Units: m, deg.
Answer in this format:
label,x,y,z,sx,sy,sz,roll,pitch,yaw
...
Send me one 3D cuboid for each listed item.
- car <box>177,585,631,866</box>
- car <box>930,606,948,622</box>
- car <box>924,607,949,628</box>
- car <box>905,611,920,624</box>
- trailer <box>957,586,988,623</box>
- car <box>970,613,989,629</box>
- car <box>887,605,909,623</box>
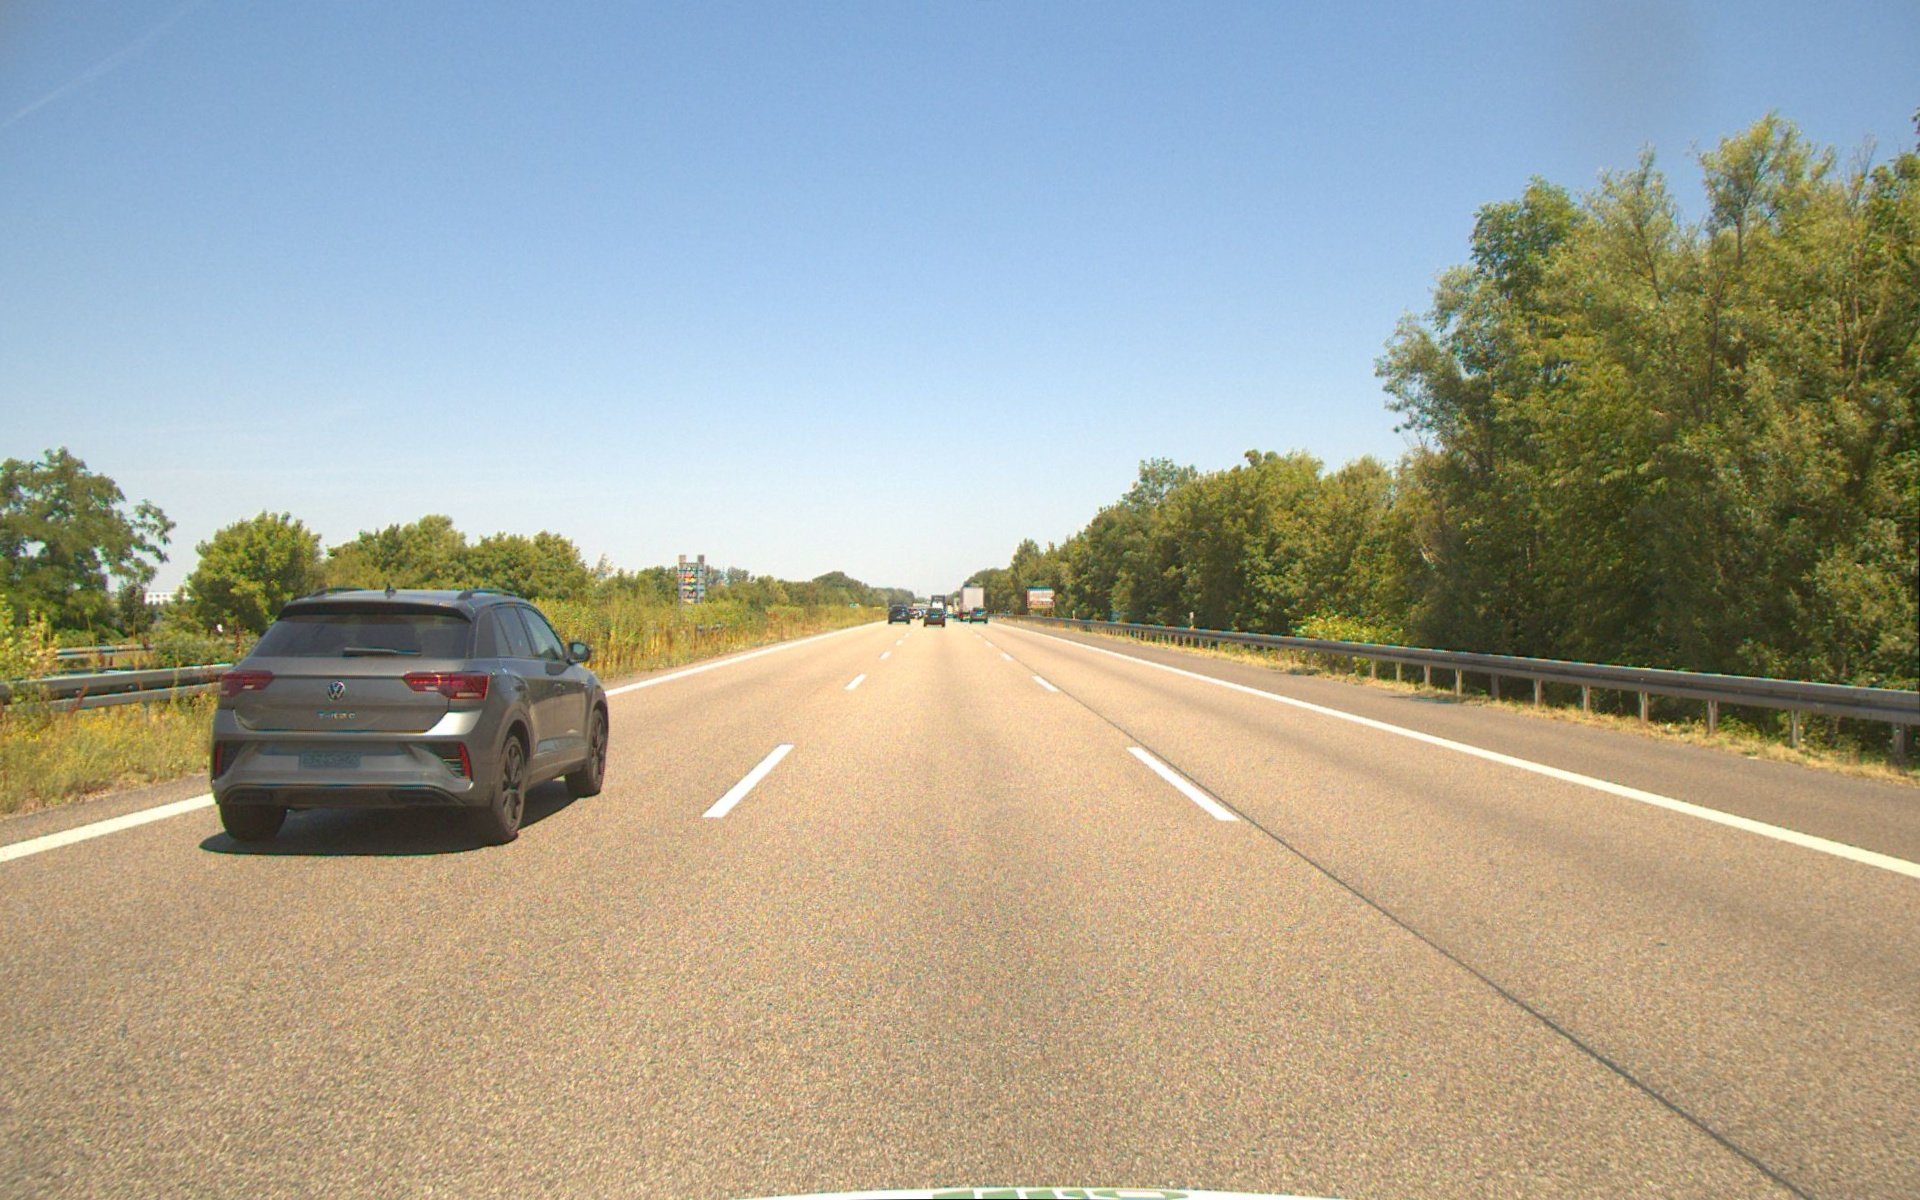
label,x,y,z,sx,sy,sz,roll,pitch,yaw
car,-3.563,0.715,11.485,1.723,1.558,4.284,1,0,-1
car,-2.204,1.491,176.362,1.862,1.558,4.083,1,0,-1
car,-1.815,1.336,127.438,1.862,1.558,4.083,1,0,-1
car,-6.176,2.276,216.345,1.869,1.558,4.284,1,0,-1
trailer,1.438,0.601,200.116,3.365,4.255,13.629,1,-1,-1
car,1.938,2.125,167.121,1.807,1.657,4.134,0,-1,-1
car,-5.525,1.257,148.468,1.869,1.558,4.284,1,0,-1
